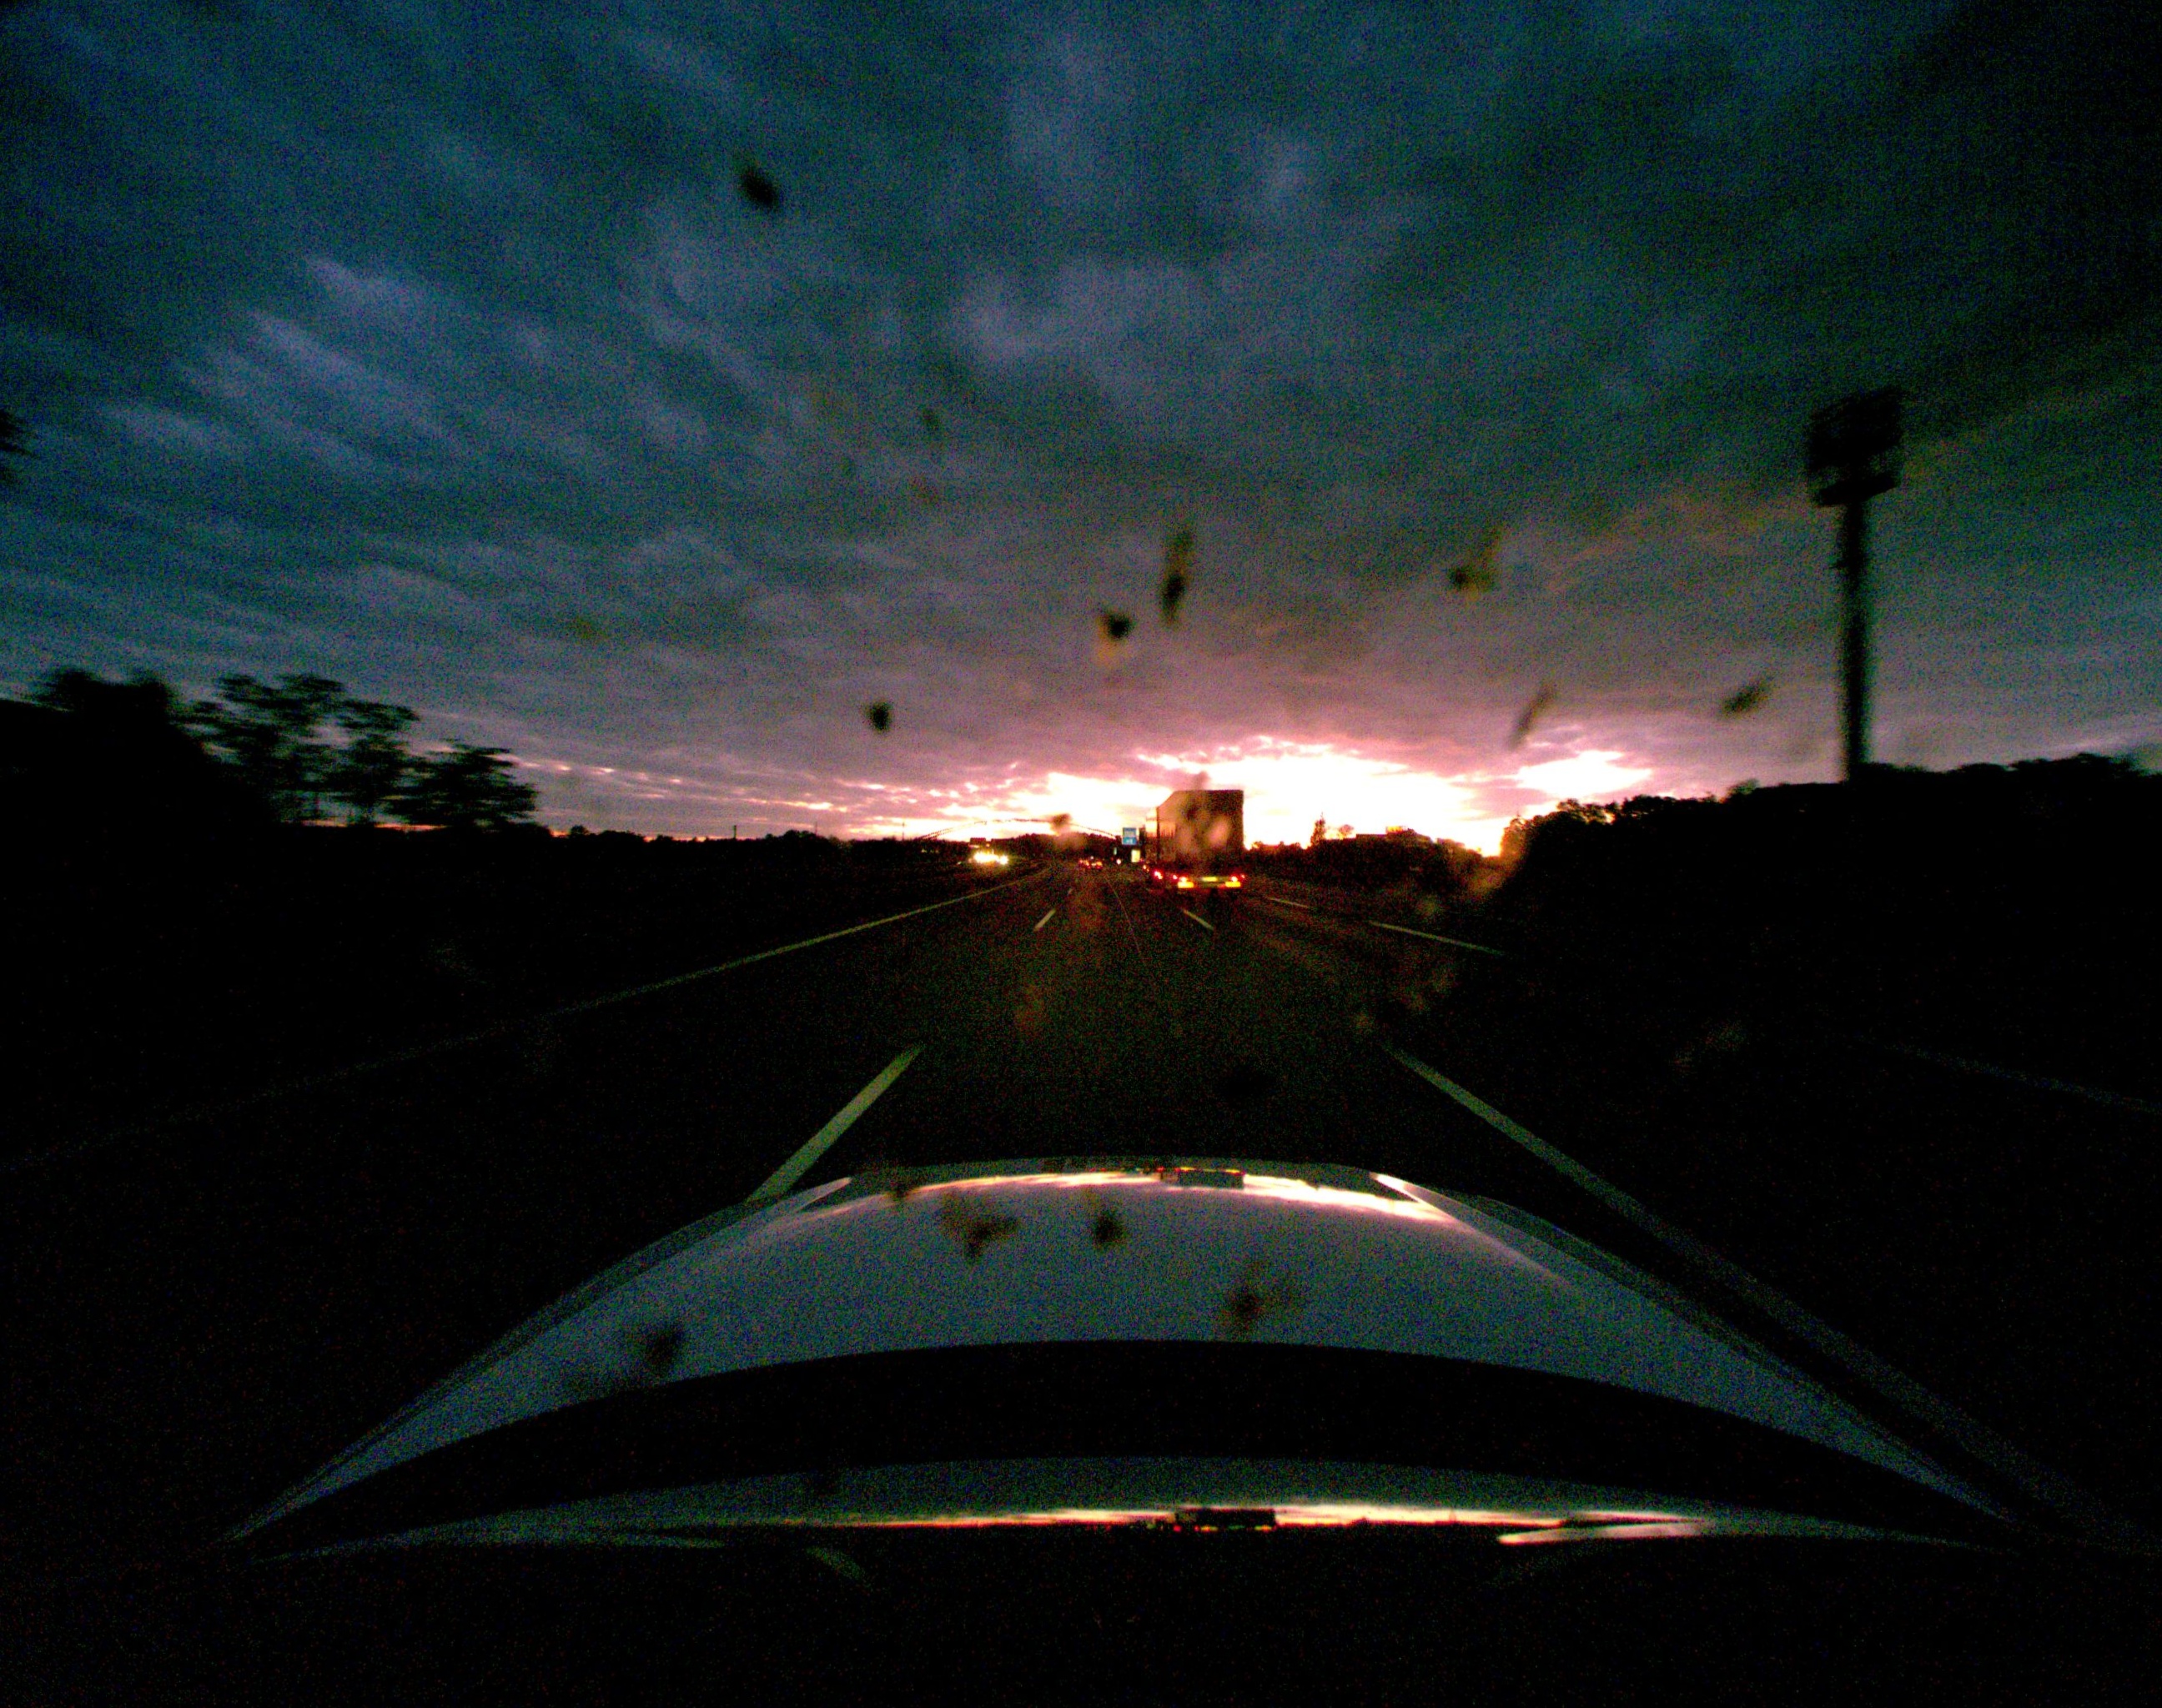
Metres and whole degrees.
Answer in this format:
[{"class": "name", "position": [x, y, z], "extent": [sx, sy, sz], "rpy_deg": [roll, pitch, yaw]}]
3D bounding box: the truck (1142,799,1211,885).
[{"class": "truck", "position": [4.896, -0.600, 43.781], "extent": [2.681, 4.071, 10.522], "rpy_deg": [0, 0, 1]}]

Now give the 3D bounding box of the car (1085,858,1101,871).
[{"class": "car", "position": [1.373, 1.217, 92.276], "extent": [1.685, 1.401, 3.406], "rpy_deg": [0, -1, -1]}]

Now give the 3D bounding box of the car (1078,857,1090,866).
[{"class": "car", "position": [0.550, 1.364, 146.806], "extent": [1.681, 1.401, 3.413], "rpy_deg": [-1, -2, 5]}]

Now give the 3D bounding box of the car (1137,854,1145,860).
[{"class": "car", "position": [16.319, 0.836, 220.225], "extent": [1.983, 1.717, 4.007], "rpy_deg": [0, -2, 7]}]

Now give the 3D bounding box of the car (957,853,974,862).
[{"class": "car", "position": [-16.562, 0.544, 117.001], "extent": [1.716, 1.227, 4.183], "rpy_deg": [0, 0, 0]}]

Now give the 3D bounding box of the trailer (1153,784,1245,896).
[{"class": "trailer", "position": [4.705, -0.547, 34.097], "extent": [2.712, 4.071, 8.833], "rpy_deg": [0, 0, 1]}]

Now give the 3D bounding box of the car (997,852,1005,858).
[{"class": "car", "position": [-20.422, 0.301, 208.456], "extent": [1.990, 1.404, 4.791], "rpy_deg": [0, 0, -4]}]
